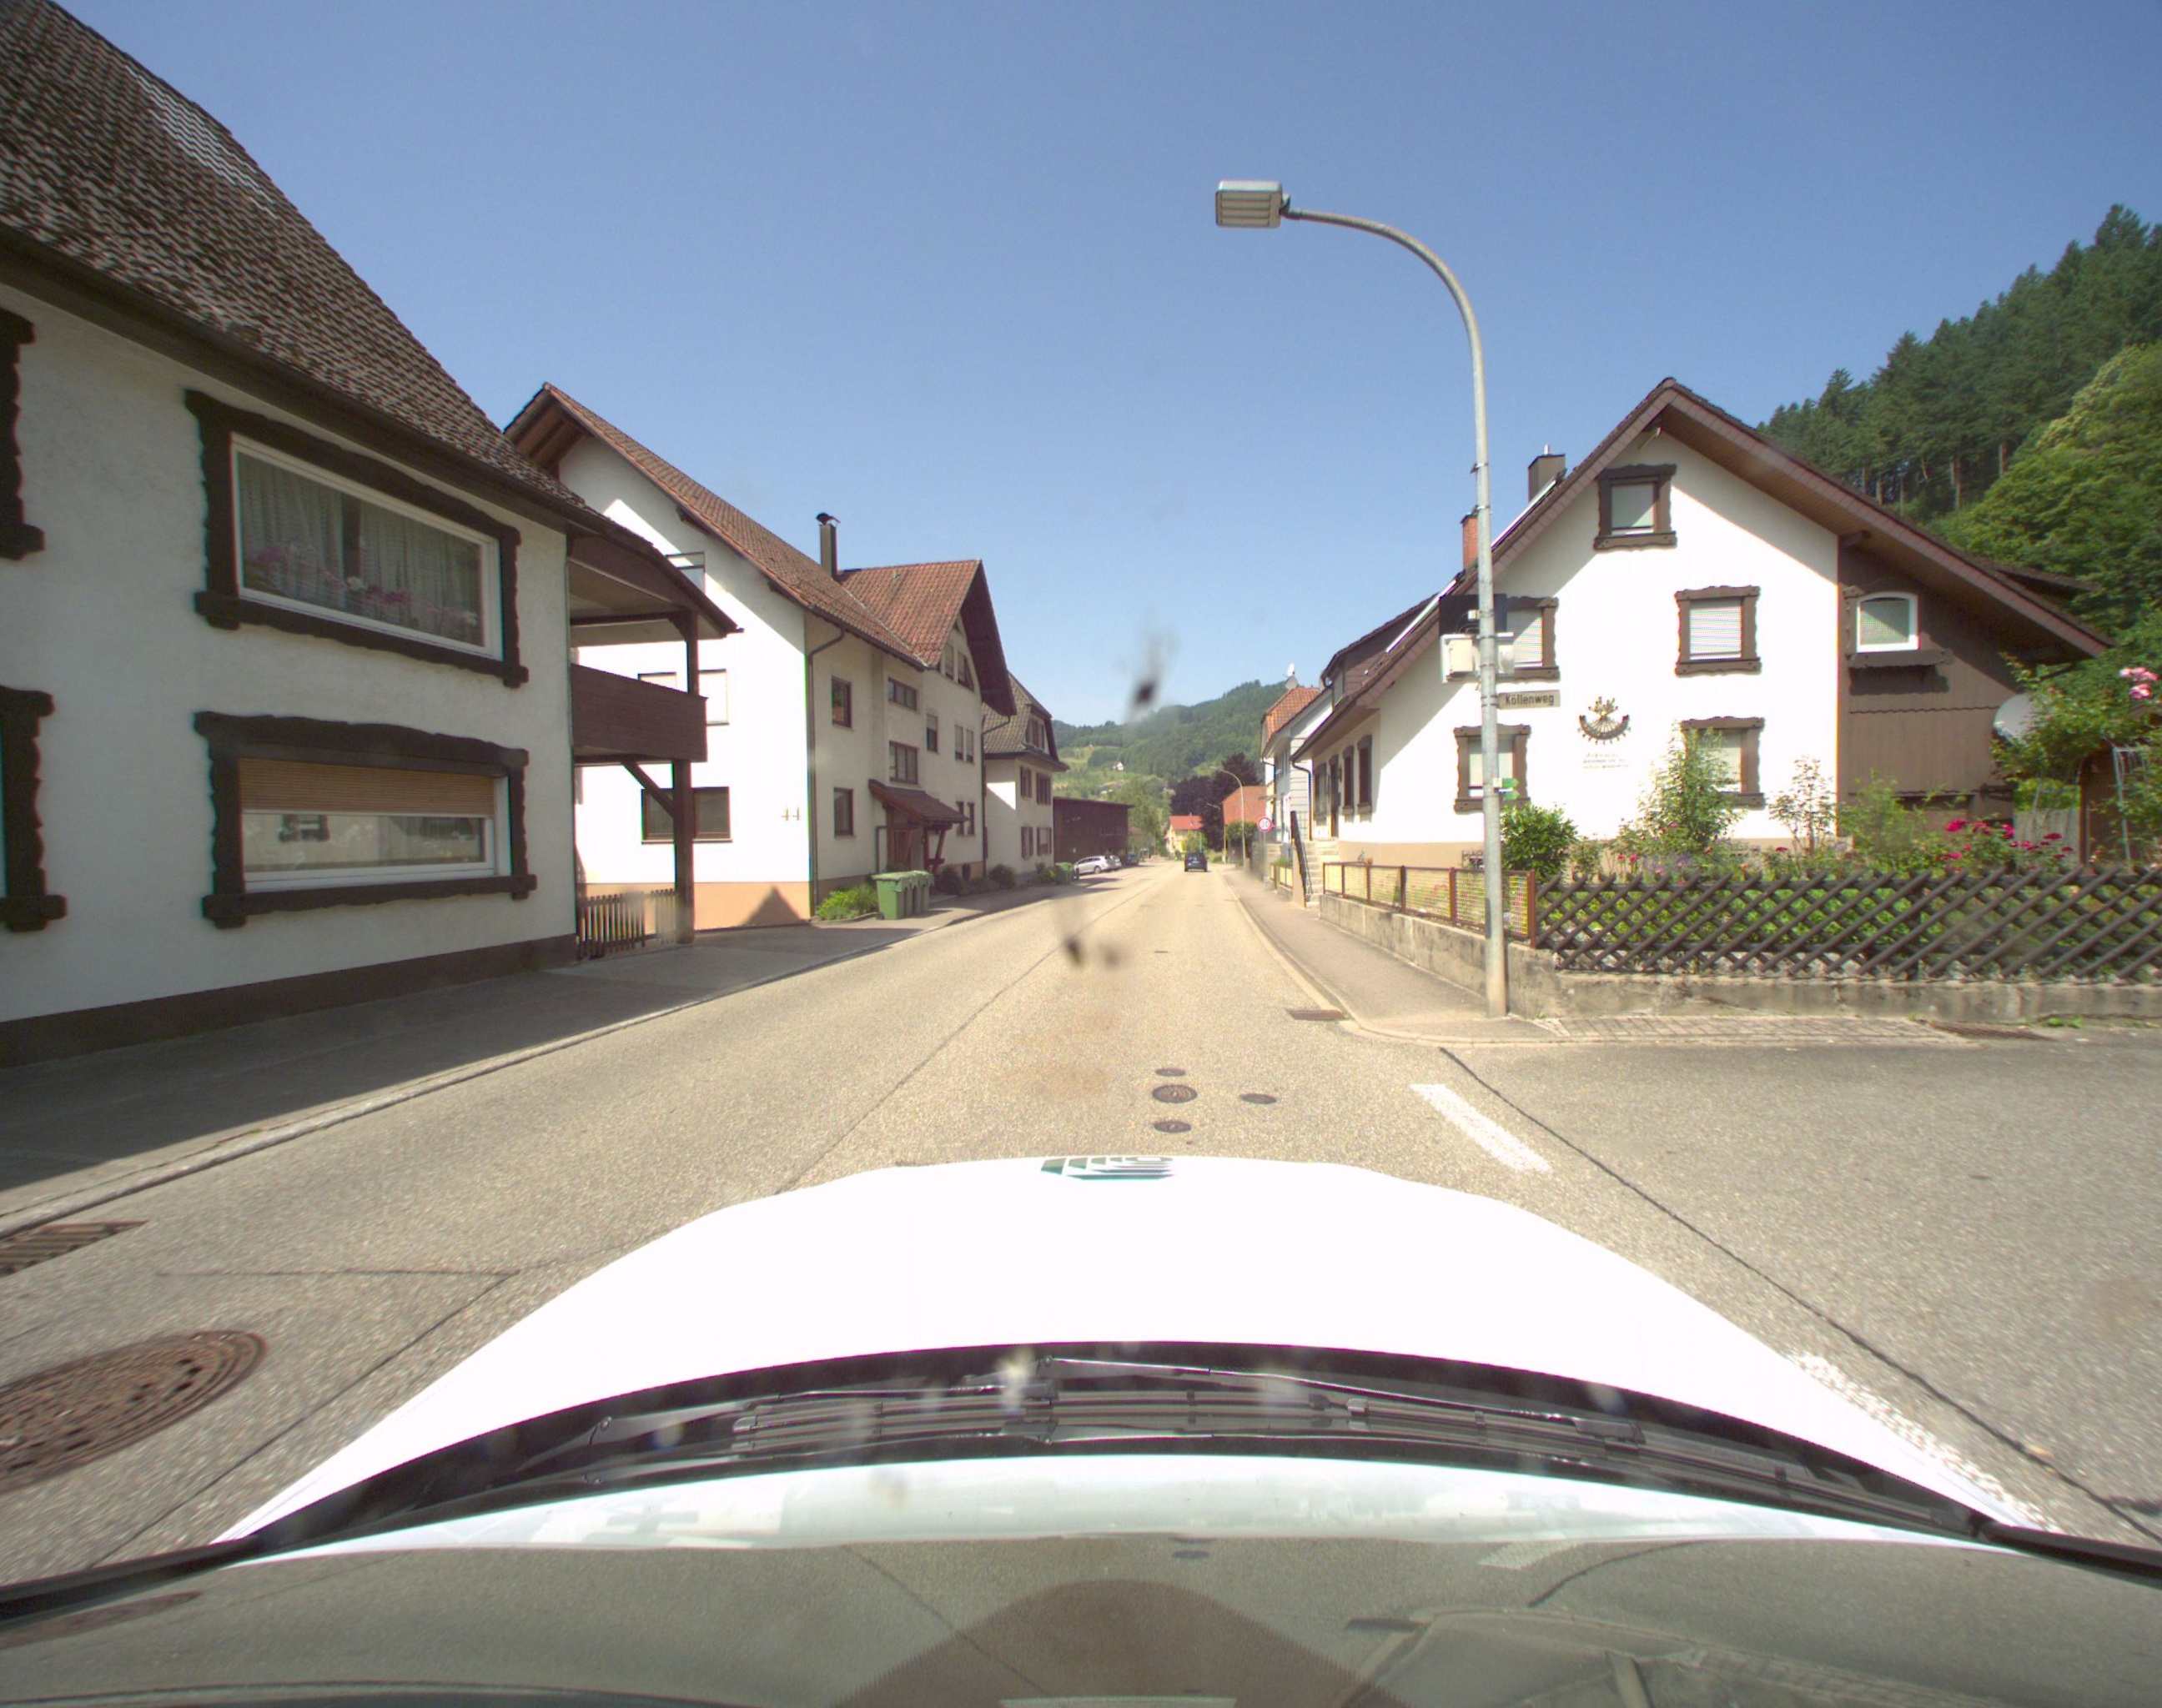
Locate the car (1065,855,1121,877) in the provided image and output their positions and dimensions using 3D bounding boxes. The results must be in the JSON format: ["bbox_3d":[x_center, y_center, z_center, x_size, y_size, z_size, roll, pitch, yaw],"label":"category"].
[{"bbox_3d":[1.014,1.054,70.835,4.386,1.474,1.937,-5,-1,34],"label":"car"}]

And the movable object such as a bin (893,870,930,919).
[{"bbox_3d":[-4.304,1.016,20.720,0.713,1.181,0.599,-3,0,9],"label":"movable object such as a bin"}]

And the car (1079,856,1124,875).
[{"bbox_3d":[1.841,1.048,73.466,3.626,1.385,1.720,-6,-2,23],"label":"car"}]

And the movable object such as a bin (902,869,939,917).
[{"bbox_3d":[-4.205,1.020,21.371,0.713,1.181,0.599,-3,0,9],"label":"movable object such as a bin"}]

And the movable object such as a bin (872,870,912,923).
[{"bbox_3d":[-4.499,1.007,19.420,0.713,1.181,0.599,-3,0,9],"label":"movable object such as a bin"}]

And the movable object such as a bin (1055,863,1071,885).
[{"bbox_3d":[-0.904,1.007,40.431,0.672,1.067,0.655,-1,0,7],"label":"movable object such as a bin"}]

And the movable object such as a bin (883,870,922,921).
[{"bbox_3d":[-4.387,1.011,20.072,0.713,1.181,0.599,-3,0,9],"label":"movable object such as a bin"}]

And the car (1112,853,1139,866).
[{"bbox_3d":[5.390,0.620,97.281,1.714,1.454,4.831,-1,1,22],"label":"car"}]

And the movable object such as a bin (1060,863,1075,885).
[{"bbox_3d":[-0.679,1.005,41.171,0.672,1.067,0.622,-1,0,7],"label":"movable object such as a bin"}]

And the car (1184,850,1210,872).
[{"bbox_3d":[9.485,0.541,66.292,1.908,1.698,3.799,-2,-1,10],"label":"car"}]
